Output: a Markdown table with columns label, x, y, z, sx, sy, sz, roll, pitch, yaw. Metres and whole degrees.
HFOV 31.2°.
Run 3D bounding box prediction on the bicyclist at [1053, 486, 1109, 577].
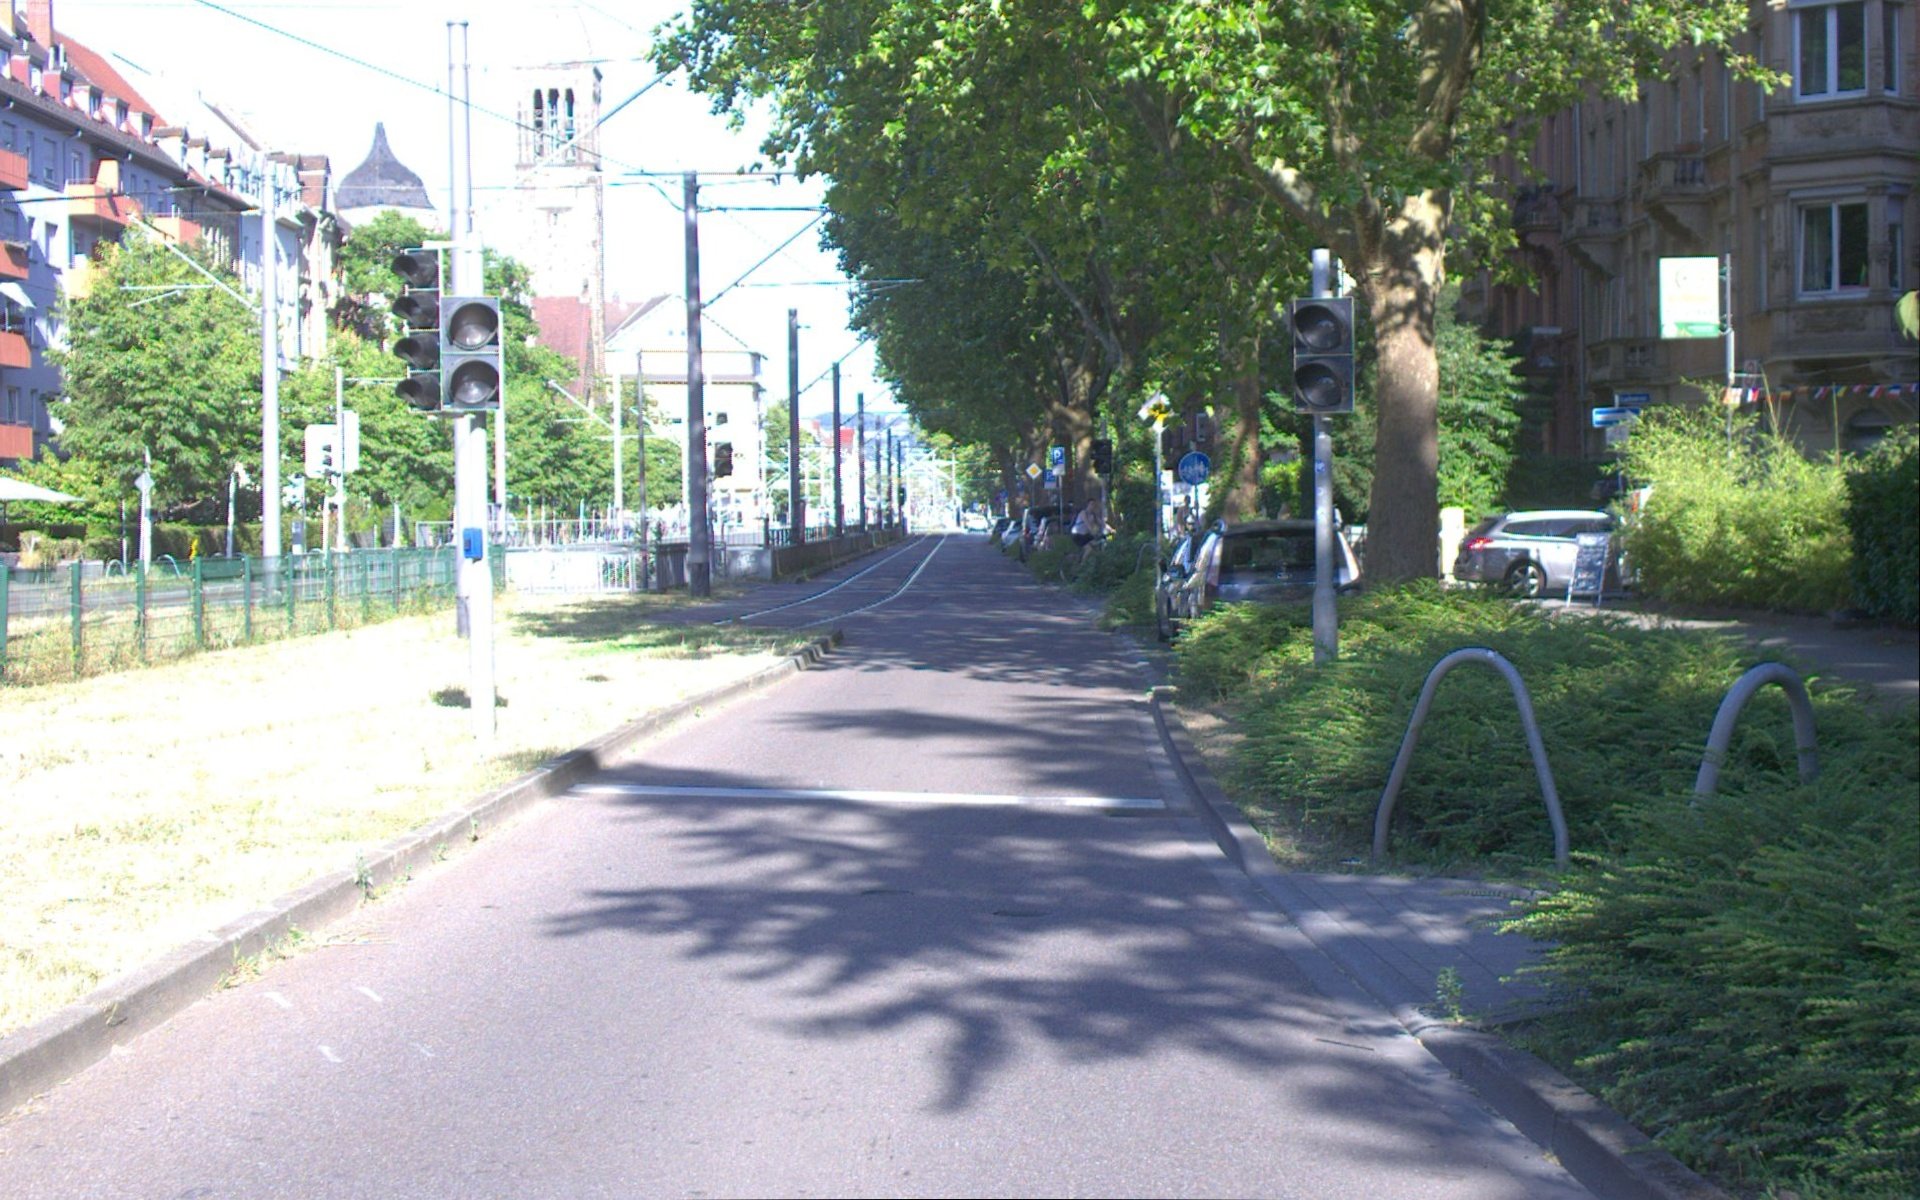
| label | x | y | z | sx | sy | sz | roll | pitch | yaw |
| --- | --- | --- | --- | --- | --- | --- | --- | --- | --- |
| bicyclist | 2.577 | -1.469 | 73.385 | 1.141 | 1.884 | 0.682 | -1 | 4 | 0 |

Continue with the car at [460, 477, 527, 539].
| label | x | y | z | sx | sy | sz | roll | pitch | yaw |
| --- | --- | --- | --- | --- | --- | --- | --- | --- | --- |
| car | -16.745 | -3.329 | 123.492 | 1.993 | 2.006 | 4.001 | -2 | 4 | -3 |

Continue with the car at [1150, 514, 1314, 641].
| label | x | y | z | sx | sy | sz | roll | pitch | yaw |
| --- | --- | --- | --- | --- | --- | --- | --- | --- | --- |
| car | 3.196 | -0.305 | 40.960 | 1.643 | 1.368 | 4.183 | -1 | 2 | 1 |

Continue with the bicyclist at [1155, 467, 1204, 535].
| label | x | y | z | sx | sy | sz | roll | pitch | yaw |
| --- | --- | --- | --- | --- | --- | --- | --- | --- | --- |
| bicyclist | 4.711 | -2.137 | 73.999 | 0.813 | 1.400 | 1.081 | -2 | 4 | -8 |

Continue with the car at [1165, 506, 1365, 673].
| label | x | y | z | sx | sy | sz | roll | pitch | yaw |
| --- | --- | --- | --- | --- | --- | --- | --- | --- | --- |
| car | 2.986 | -0.154 | 34.350 | 1.643 | 1.506 | 4.183 | -1 | 2 | 1 |

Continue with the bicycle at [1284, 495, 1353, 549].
| label | x | y | z | sx | sy | sz | roll | pitch | yaw |
| --- | --- | --- | --- | --- | --- | --- | --- | --- | --- |
| bicycle | 7.153 | -1.571 | 68.687 | 0.813 | 0.953 | 2.318 | -2 | 4 | -8 |

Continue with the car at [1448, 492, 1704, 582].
| label | x | y | z | sx | sy | sz | roll | pitch | yaw |
| --- | --- | --- | --- | --- | --- | --- | --- | --- | --- |
| car | 10.315 | -1.066 | 57.761 | 3.987 | 1.415 | 2.000 | -1 | 2 | 3 |

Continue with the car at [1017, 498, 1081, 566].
| label | x | y | z | sx | sy | sz | roll | pitch | yaw |
| --- | --- | --- | --- | --- | --- | --- | --- | --- | --- |
| car | 2.861 | -2.182 | 111.379 | 1.993 | 2.100 | 4.000 | 1 | 0 | 1 |

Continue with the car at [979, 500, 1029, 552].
| label | x | y | z | sx | sy | sz | roll | pitch | yaw |
| --- | --- | --- | --- | --- | --- | --- | --- | --- | --- |
| car | 1.838 | -3.082 | 143.926 | 1.993 | 2.100 | 4.000 | 1 | 0 | 1 |

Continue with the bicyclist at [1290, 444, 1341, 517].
| label | x | y | z | sx | sy | sz | roll | pitch | yaw |
| --- | --- | --- | --- | --- | --- | --- | --- | --- | --- |
| bicyclist | 7.107 | -2.391 | 68.736 | 0.813 | 1.400 | 0.825 | -2 | 4 | -8 |

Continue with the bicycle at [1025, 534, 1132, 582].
| label | x | y | z | sx | sy | sz | roll | pitch | yaw |
| --- | --- | --- | --- | --- | --- | --- | --- | --- | --- |
| bicycle | 2.524 | -0.897 | 73.418 | 2.241 | 0.972 | 0.682 | -1 | 4 | 0 |

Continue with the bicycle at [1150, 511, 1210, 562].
| label | x | y | z | sx | sy | sz | roll | pitch | yaw |
| --- | --- | --- | --- | --- | --- | --- | --- | --- | --- |
| bicycle | 4.728 | -1.381 | 74.044 | 0.813 | 0.953 | 2.318 | -2 | 4 | -8 |
